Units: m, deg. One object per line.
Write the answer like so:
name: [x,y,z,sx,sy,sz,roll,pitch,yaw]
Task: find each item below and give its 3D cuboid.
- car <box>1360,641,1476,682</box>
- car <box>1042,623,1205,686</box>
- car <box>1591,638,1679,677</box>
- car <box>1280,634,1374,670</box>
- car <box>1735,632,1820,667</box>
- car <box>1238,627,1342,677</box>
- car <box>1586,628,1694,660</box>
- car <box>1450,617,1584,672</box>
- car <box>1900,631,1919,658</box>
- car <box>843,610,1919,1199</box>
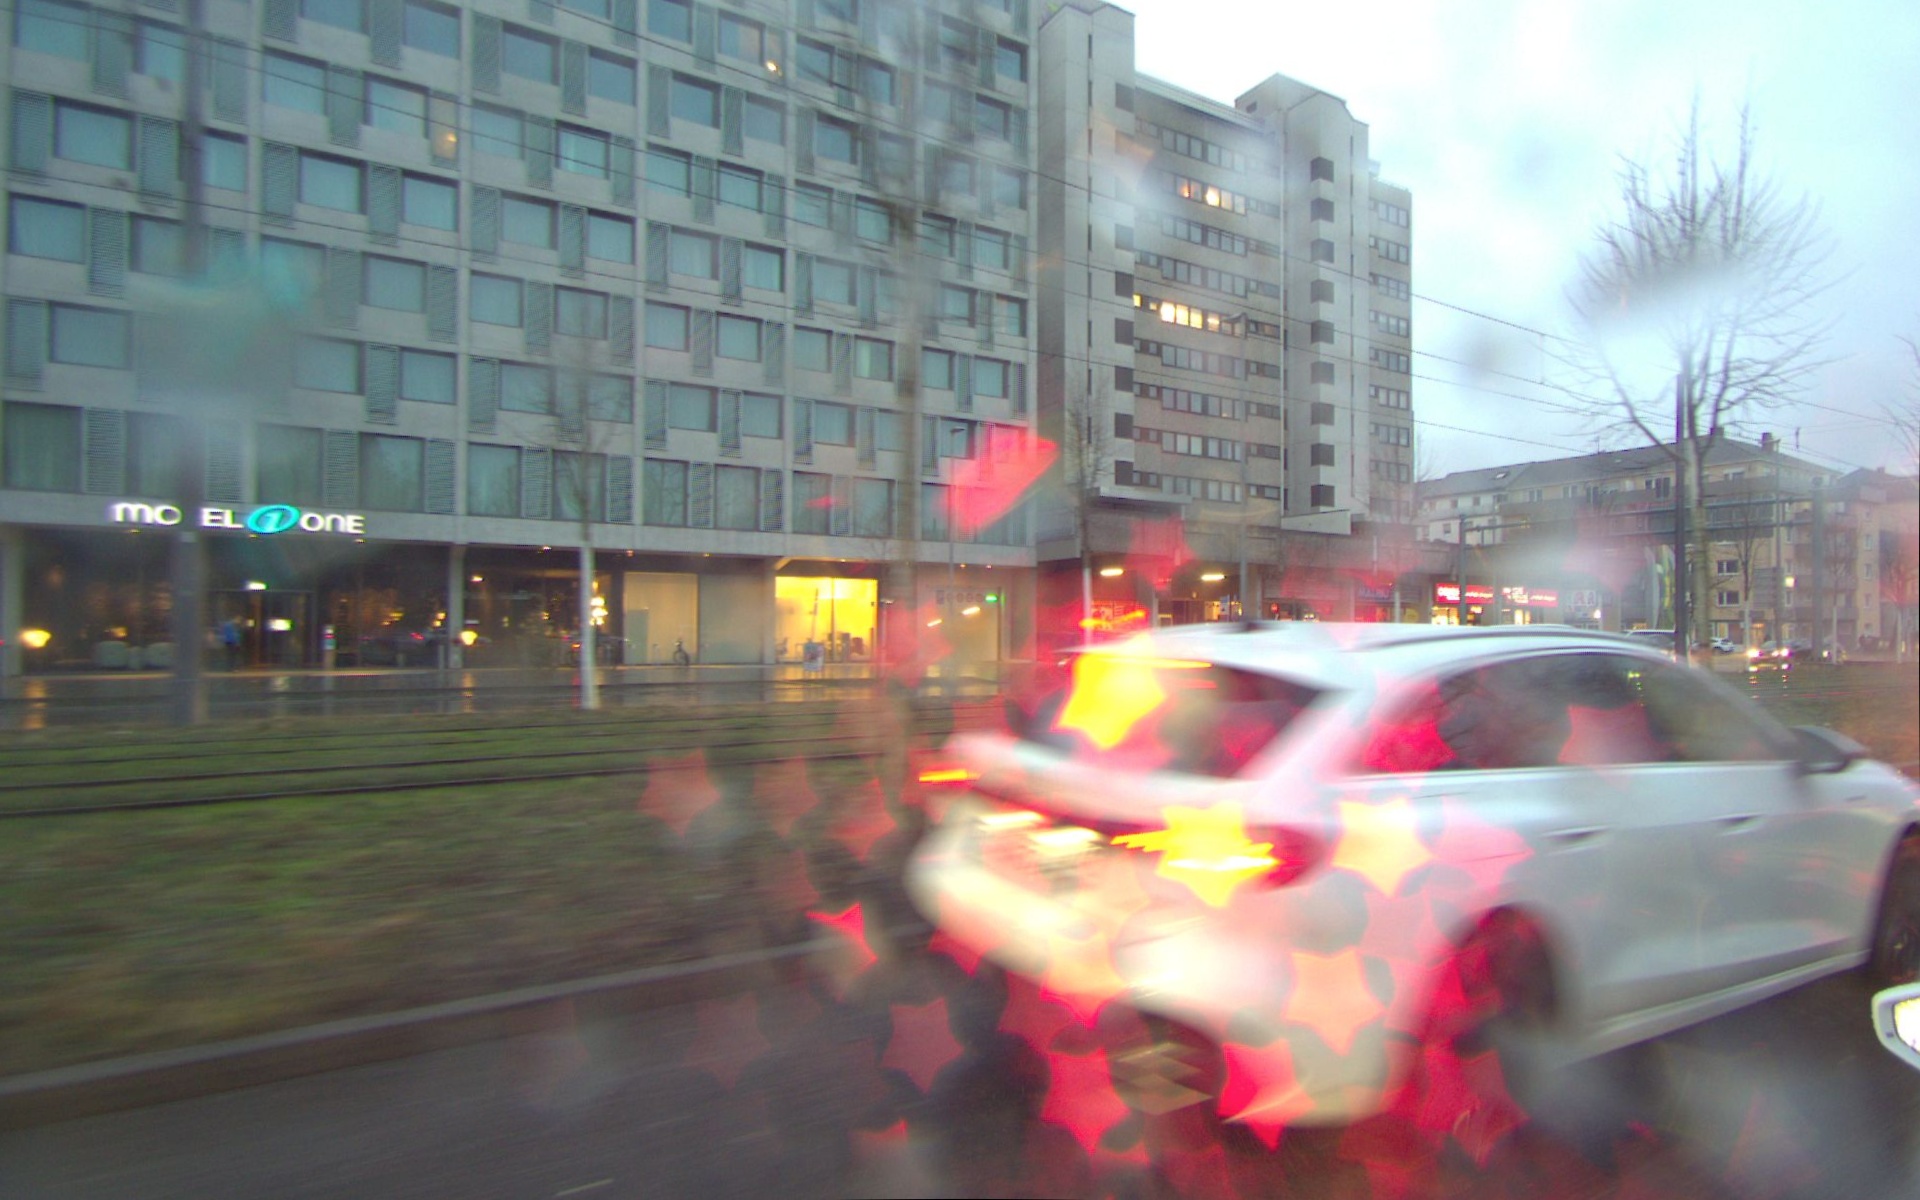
car: [18.399,2.431,40.300,4.736,1.536,1.887,1,-2,-30]
car: [4.072,1.308,24.870,3.664,1.450,1.886,1,-2,-31]
car: [33.260,2.785,49.461,4.477,1.837,1.887,1,-2,-30]
car: [17.210,2.414,47.075,3.924,1.405,1.935,2,0,25]
car: [43.062,2.584,52.881,4.858,1.741,1.887,1,-1,-30]
car: [13.276,2.065,40.592,3.846,1.910,1.729,0,-1,13]
car: [41.549,2.664,61.514,5.059,1.937,2.001,0,-2,15]
car: [18.778,1.477,33.798,5.065,1.741,1.884,1,-2,-34]
car: [70.849,3.241,73.636,5.116,1.937,1.979,2,-2,-37]
car: [2.007,0.808,3.983,4.560,1.424,1.837,2,-1,-30]
